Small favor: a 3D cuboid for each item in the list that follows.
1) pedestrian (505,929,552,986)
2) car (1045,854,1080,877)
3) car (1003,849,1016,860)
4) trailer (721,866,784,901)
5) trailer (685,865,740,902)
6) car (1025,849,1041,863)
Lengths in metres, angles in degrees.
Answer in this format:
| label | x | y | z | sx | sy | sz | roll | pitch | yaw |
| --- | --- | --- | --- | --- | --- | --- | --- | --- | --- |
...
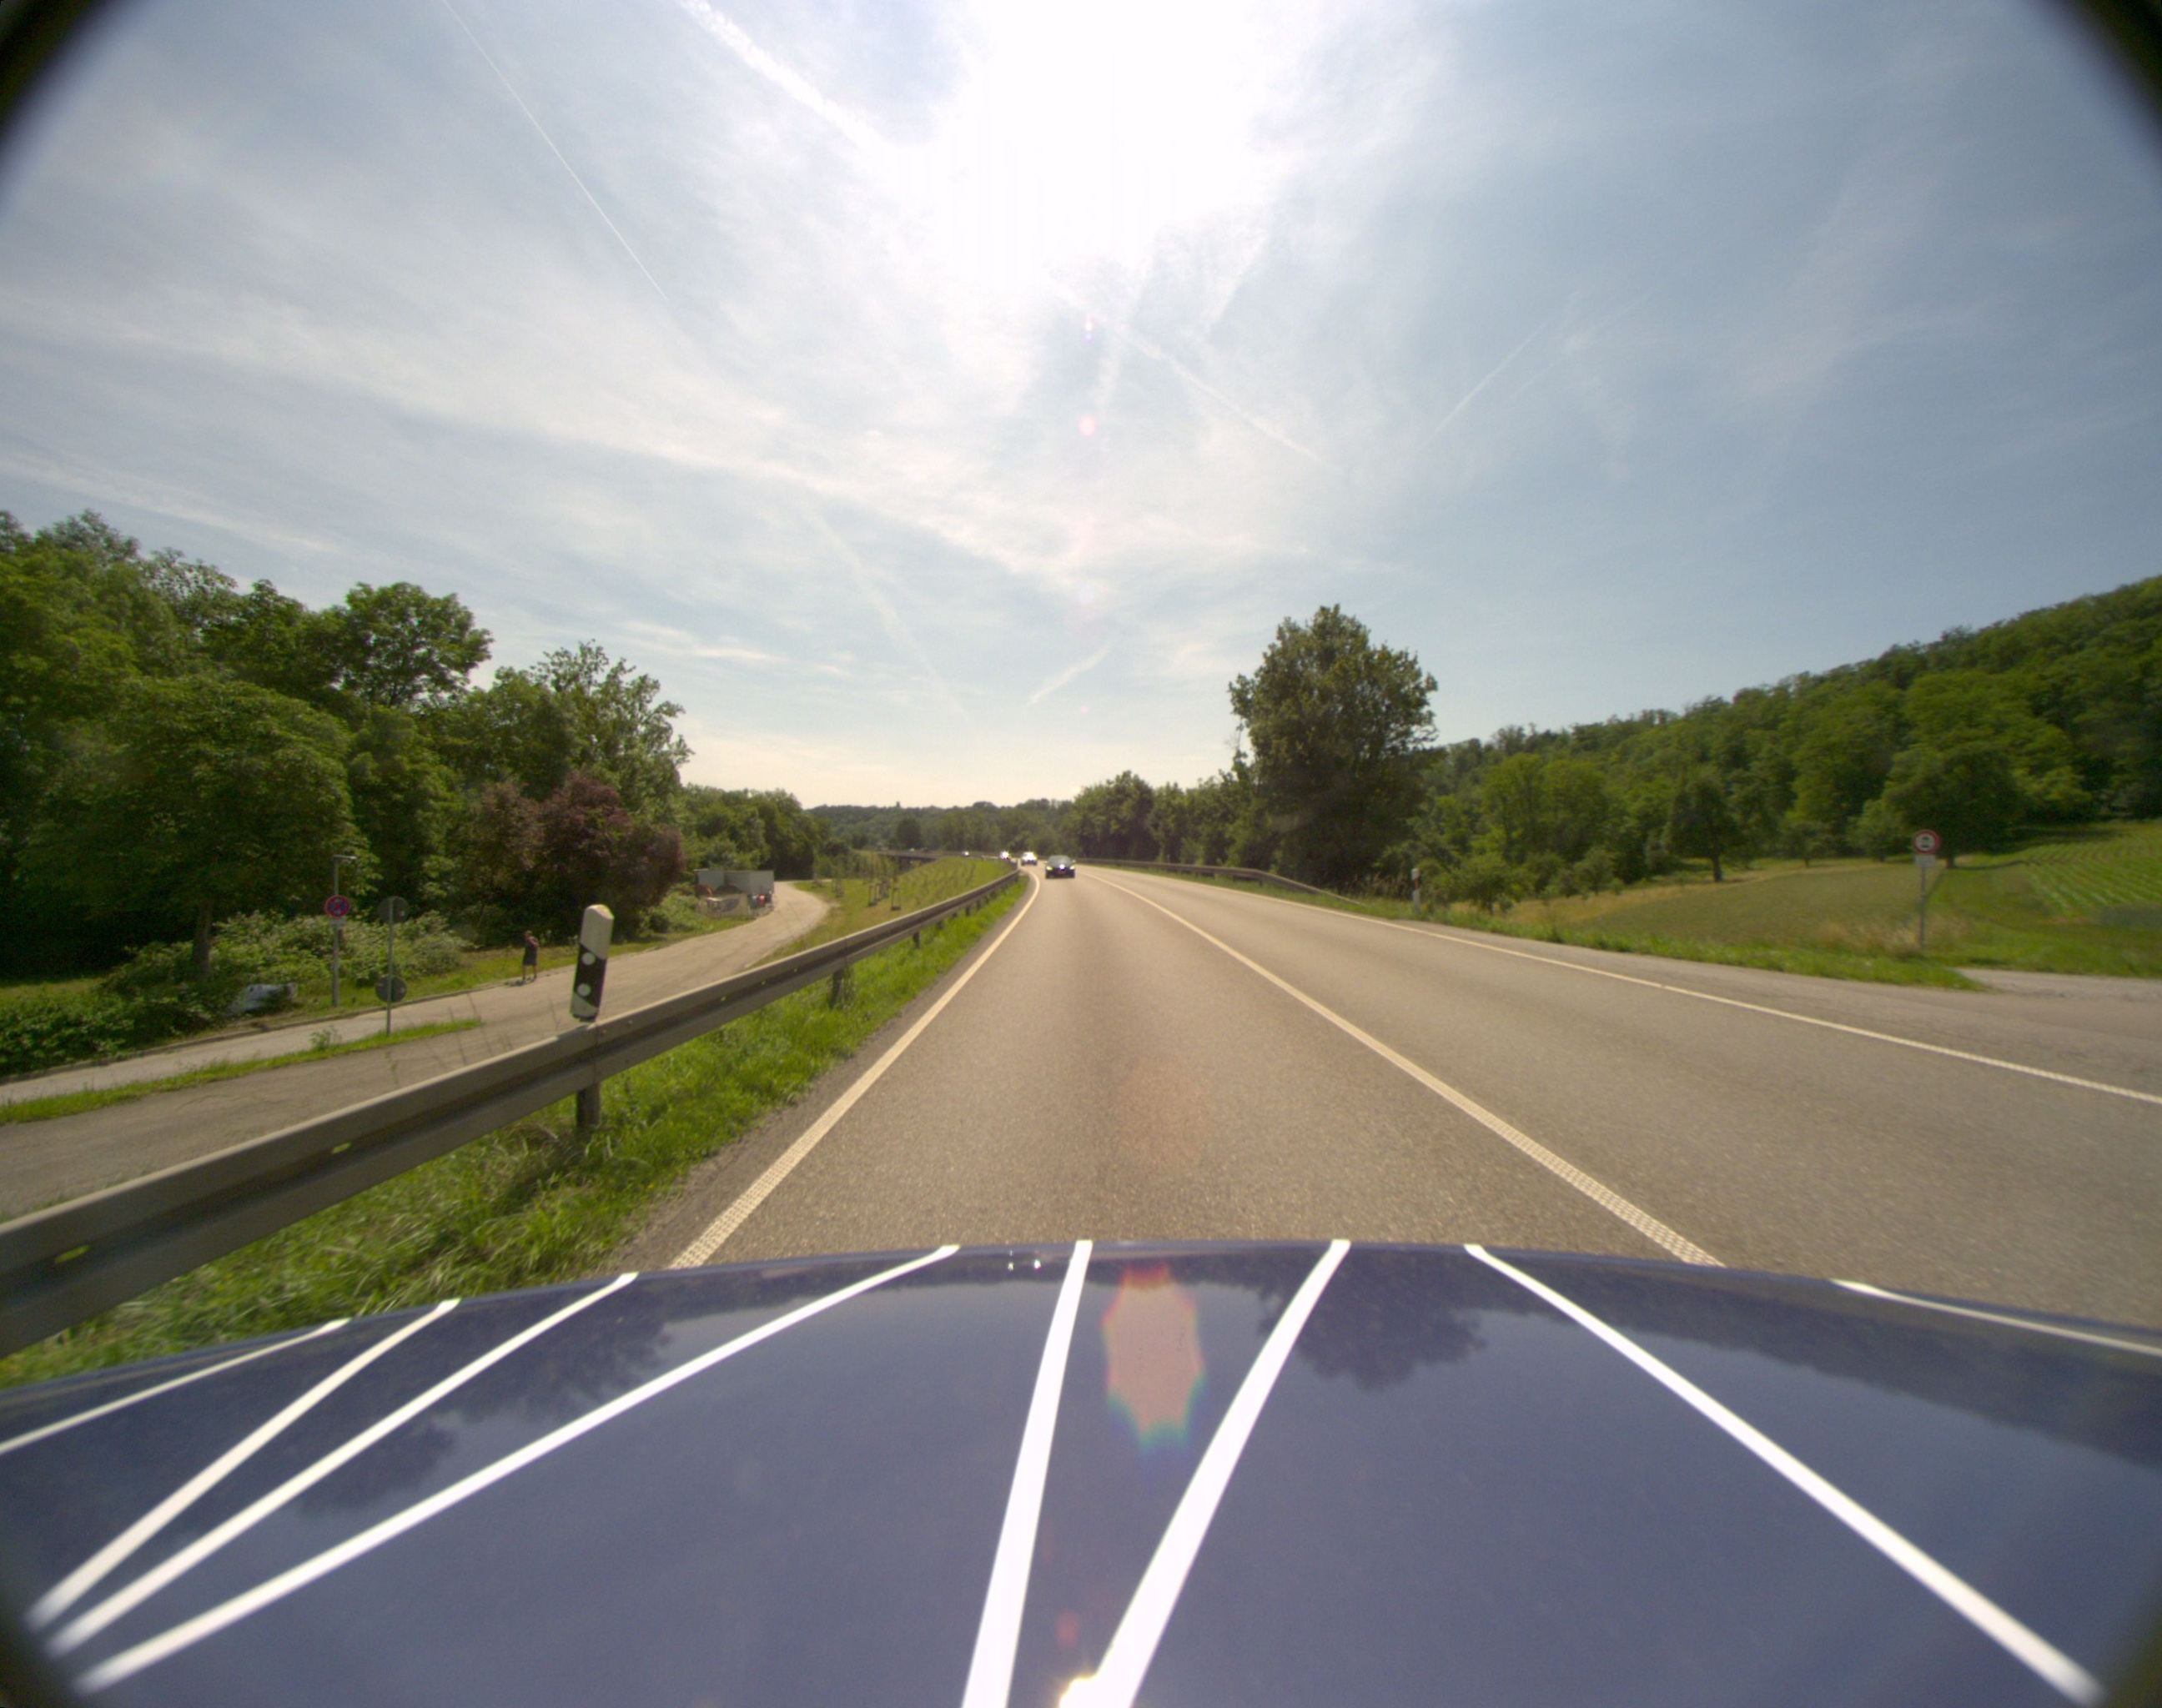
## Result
| label | x | y | z | sx | sy | sz | roll | pitch | yaw |
| --- | --- | --- | --- | --- | --- | --- | --- | --- | --- |
| pedestrian | -18.874 | 3.534 | 25.956 | 0.887 | 1.800 | 0.959 | 1 | 0 | -3 |
| car | -1.221 | 0.676 | 48.557 | 1.981 | 1.333 | 3.998 | -1 | 1 | -4 |
| car | -12.600 | 0.041 | 133.557 | 1.982 | 1.723 | 3.994 | -2 | 2 | -11 |
| trailer | -35.239 | 3.030 | 81.179 | 2.732 | 3.309 | 11.861 | -2 | 1 | -40 |
| trailer | -39.940 | 3.061 | 82.094 | 2.732 | 3.586 | 11.862 | -3 | 2 | -38 |
| car | -6.112 | 0.225 | 97.066 | 1.981 | 1.779 | 3.998 | -1 | 1 | -3 |
